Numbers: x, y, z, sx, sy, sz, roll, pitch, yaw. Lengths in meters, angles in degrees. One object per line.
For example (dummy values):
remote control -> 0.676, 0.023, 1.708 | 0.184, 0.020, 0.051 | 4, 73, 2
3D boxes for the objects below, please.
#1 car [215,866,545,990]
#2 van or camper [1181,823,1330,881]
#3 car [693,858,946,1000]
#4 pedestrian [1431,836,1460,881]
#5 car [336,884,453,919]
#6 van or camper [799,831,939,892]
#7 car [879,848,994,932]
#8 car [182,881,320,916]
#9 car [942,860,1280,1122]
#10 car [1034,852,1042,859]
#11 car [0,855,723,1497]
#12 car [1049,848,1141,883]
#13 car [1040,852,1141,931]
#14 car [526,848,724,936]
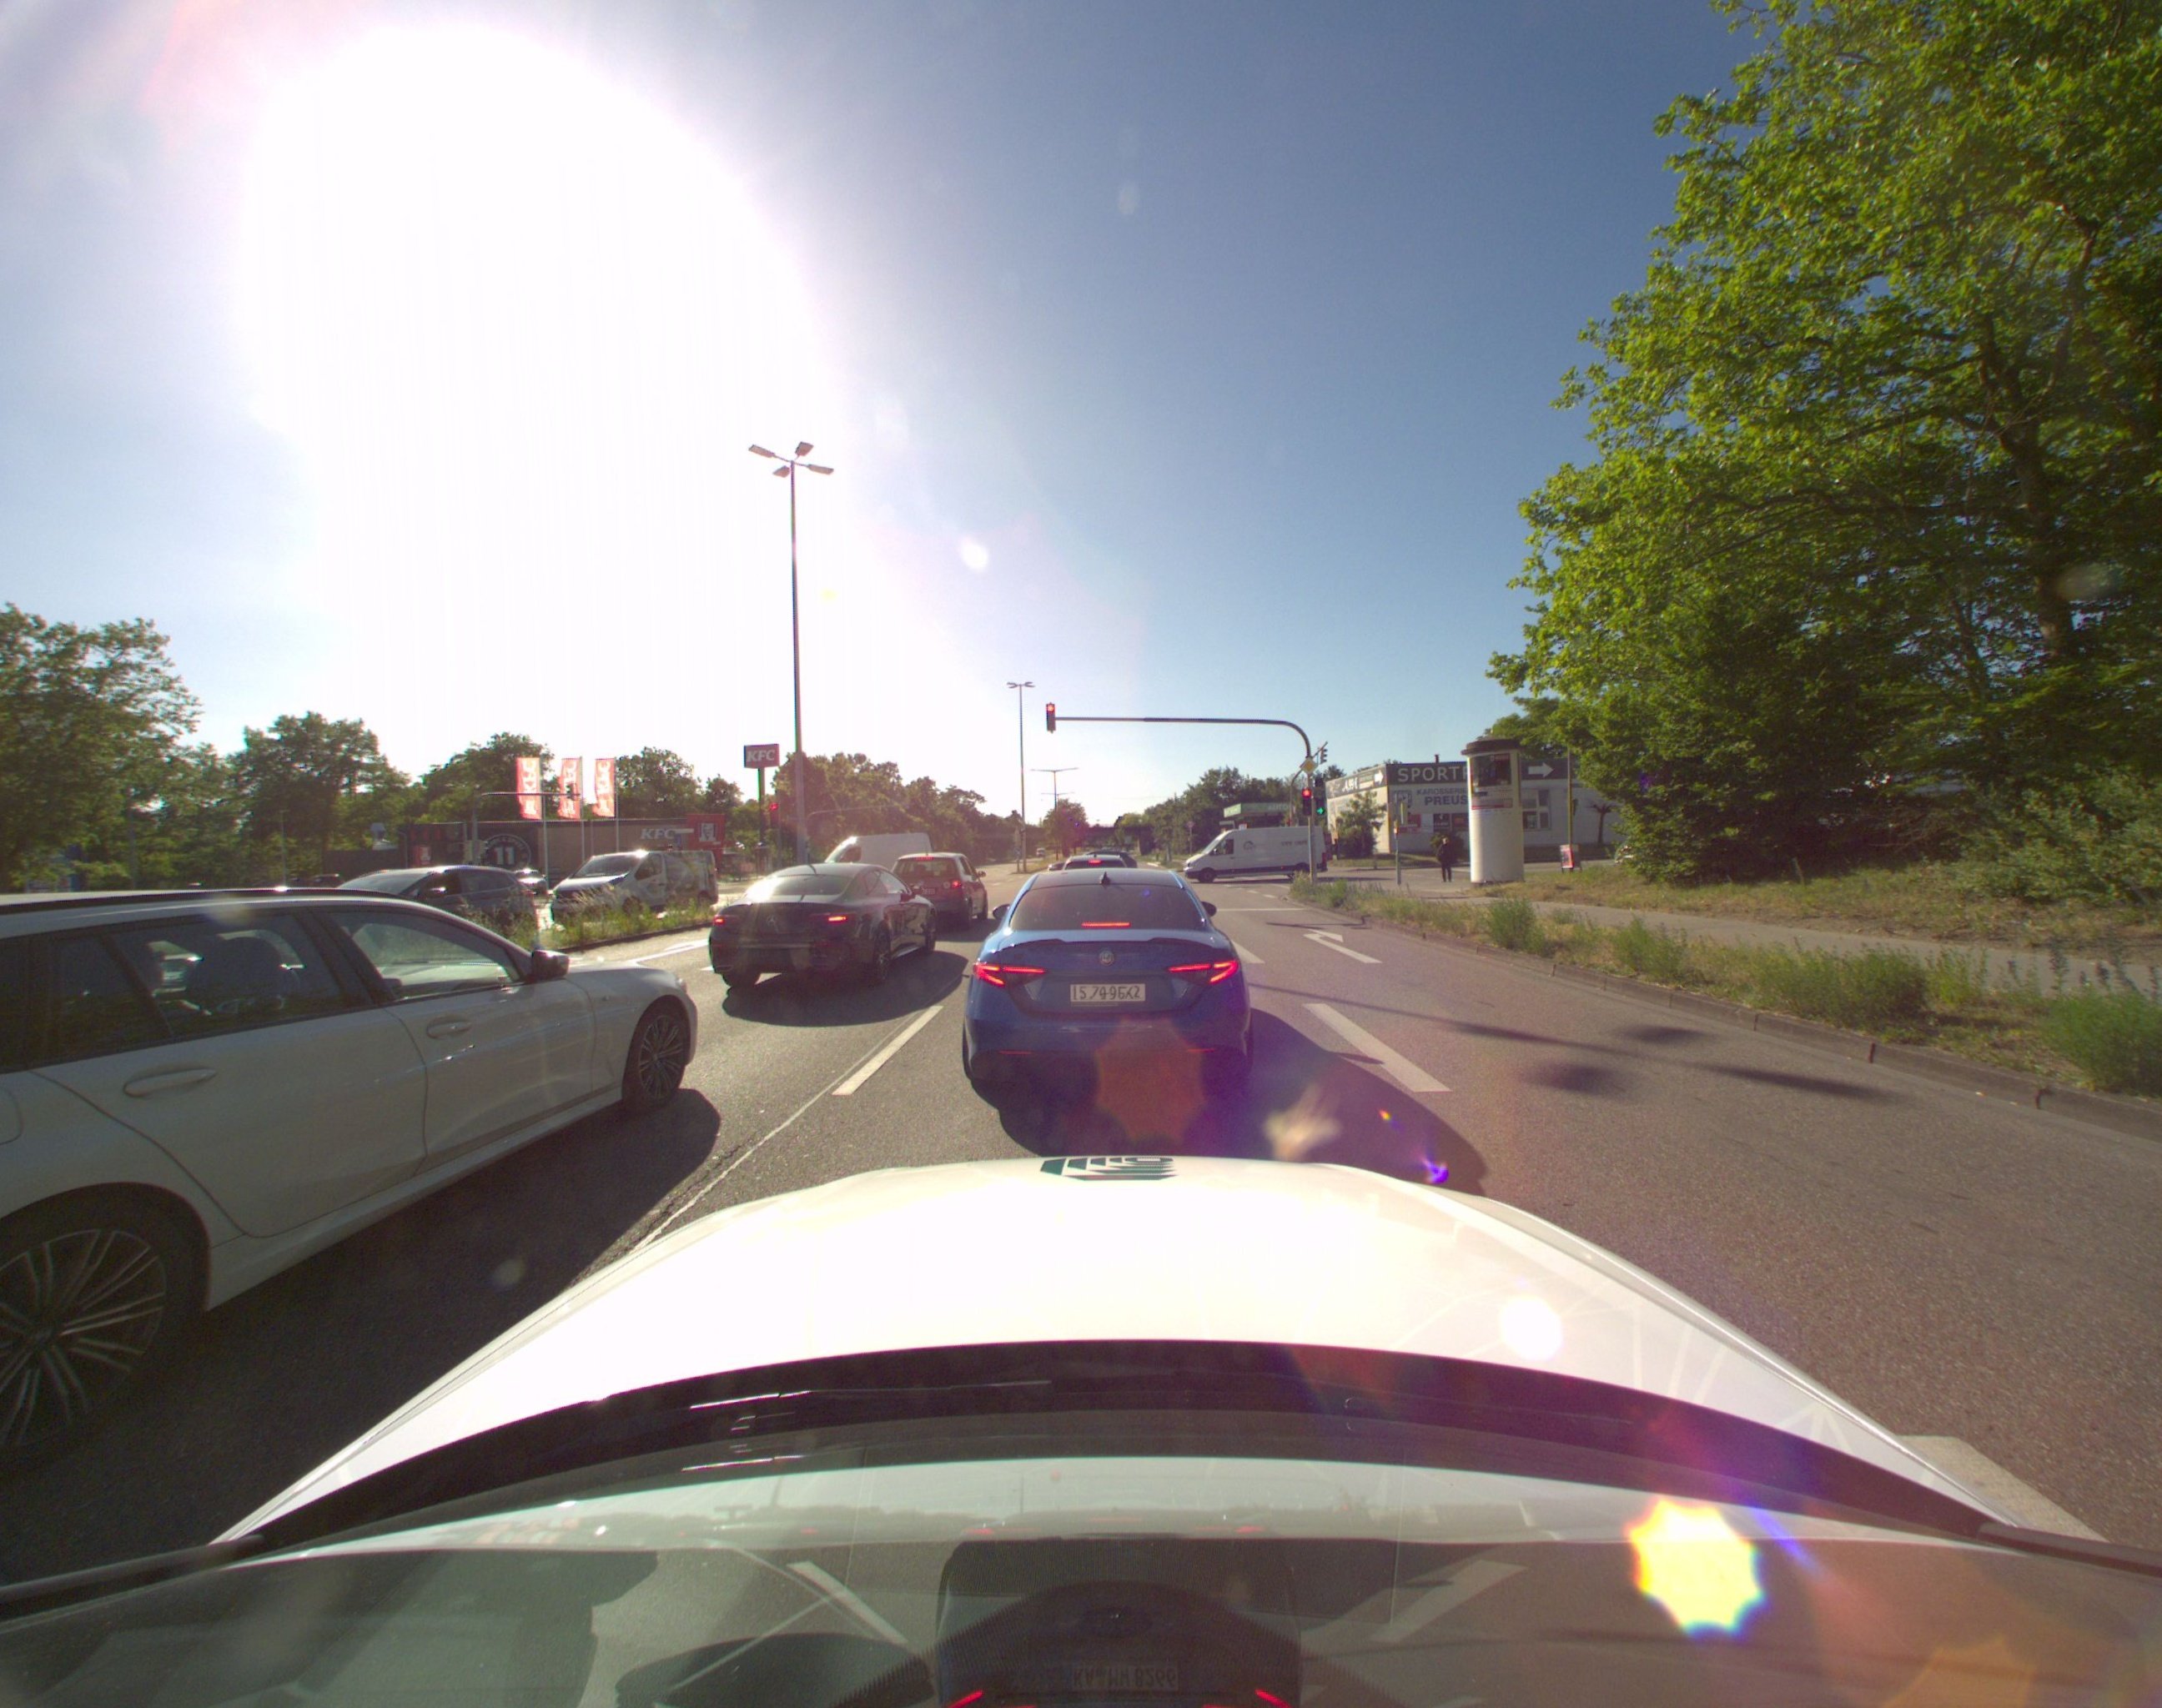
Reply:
car -> -11.677, 1.104, 14.099 | 1.873, 1.690, 4.434 | -2, 0, -1
van or camper -> 8.344, -0.098, 39.452 | 6.708, 2.572, 2.185 | -2, 0, 1
car -> -3.136, 0.807, 10.831 | 1.762, 1.414, 4.463 | -1, 0, 2
pedestrian -> 14.170, 0.181, 31.672 | 0.818, 1.721, 0.856 | -2, 0, 9
car -> -32.119, 2.228, 38.168 | 4.019, 1.429, 1.826 | -1, 0, 3
van or camper -> -9.831, 0.278, 38.080 | 5.981, 2.651, 1.978 | -2, 0, -35
car -> -3.016, 0.694, 17.748 | 1.642, 1.598, 3.933 | -1, 0, 2
car -> -39.241, 2.073, 38.577 | 4.701, 1.429, 1.865 | -1, 1, 2
car -> 0.227, 0.782, 6.508 | 1.859, 1.385, 3.933 | -1, 0, 2
car -> -11.084, 0.356, 211.663 | 1.817, 1.694, 3.835 | -1, 0, -1
car -> -3.423, 0.792, 3.358 | 1.762, 1.509, 4.463 | -1, 0, 2
car -> 0.733, 0.555, 42.174 | 4.583, 1.653, 2.000 | -1, 0, 0
car -> 0.238, 0.696, 17.194 | 1.859, 1.450, 3.933 | -1, 0, 2
car -> -12.273, 0.911, 22.423 | 1.982, 2.013, 5.037 | -4, 0, 8
